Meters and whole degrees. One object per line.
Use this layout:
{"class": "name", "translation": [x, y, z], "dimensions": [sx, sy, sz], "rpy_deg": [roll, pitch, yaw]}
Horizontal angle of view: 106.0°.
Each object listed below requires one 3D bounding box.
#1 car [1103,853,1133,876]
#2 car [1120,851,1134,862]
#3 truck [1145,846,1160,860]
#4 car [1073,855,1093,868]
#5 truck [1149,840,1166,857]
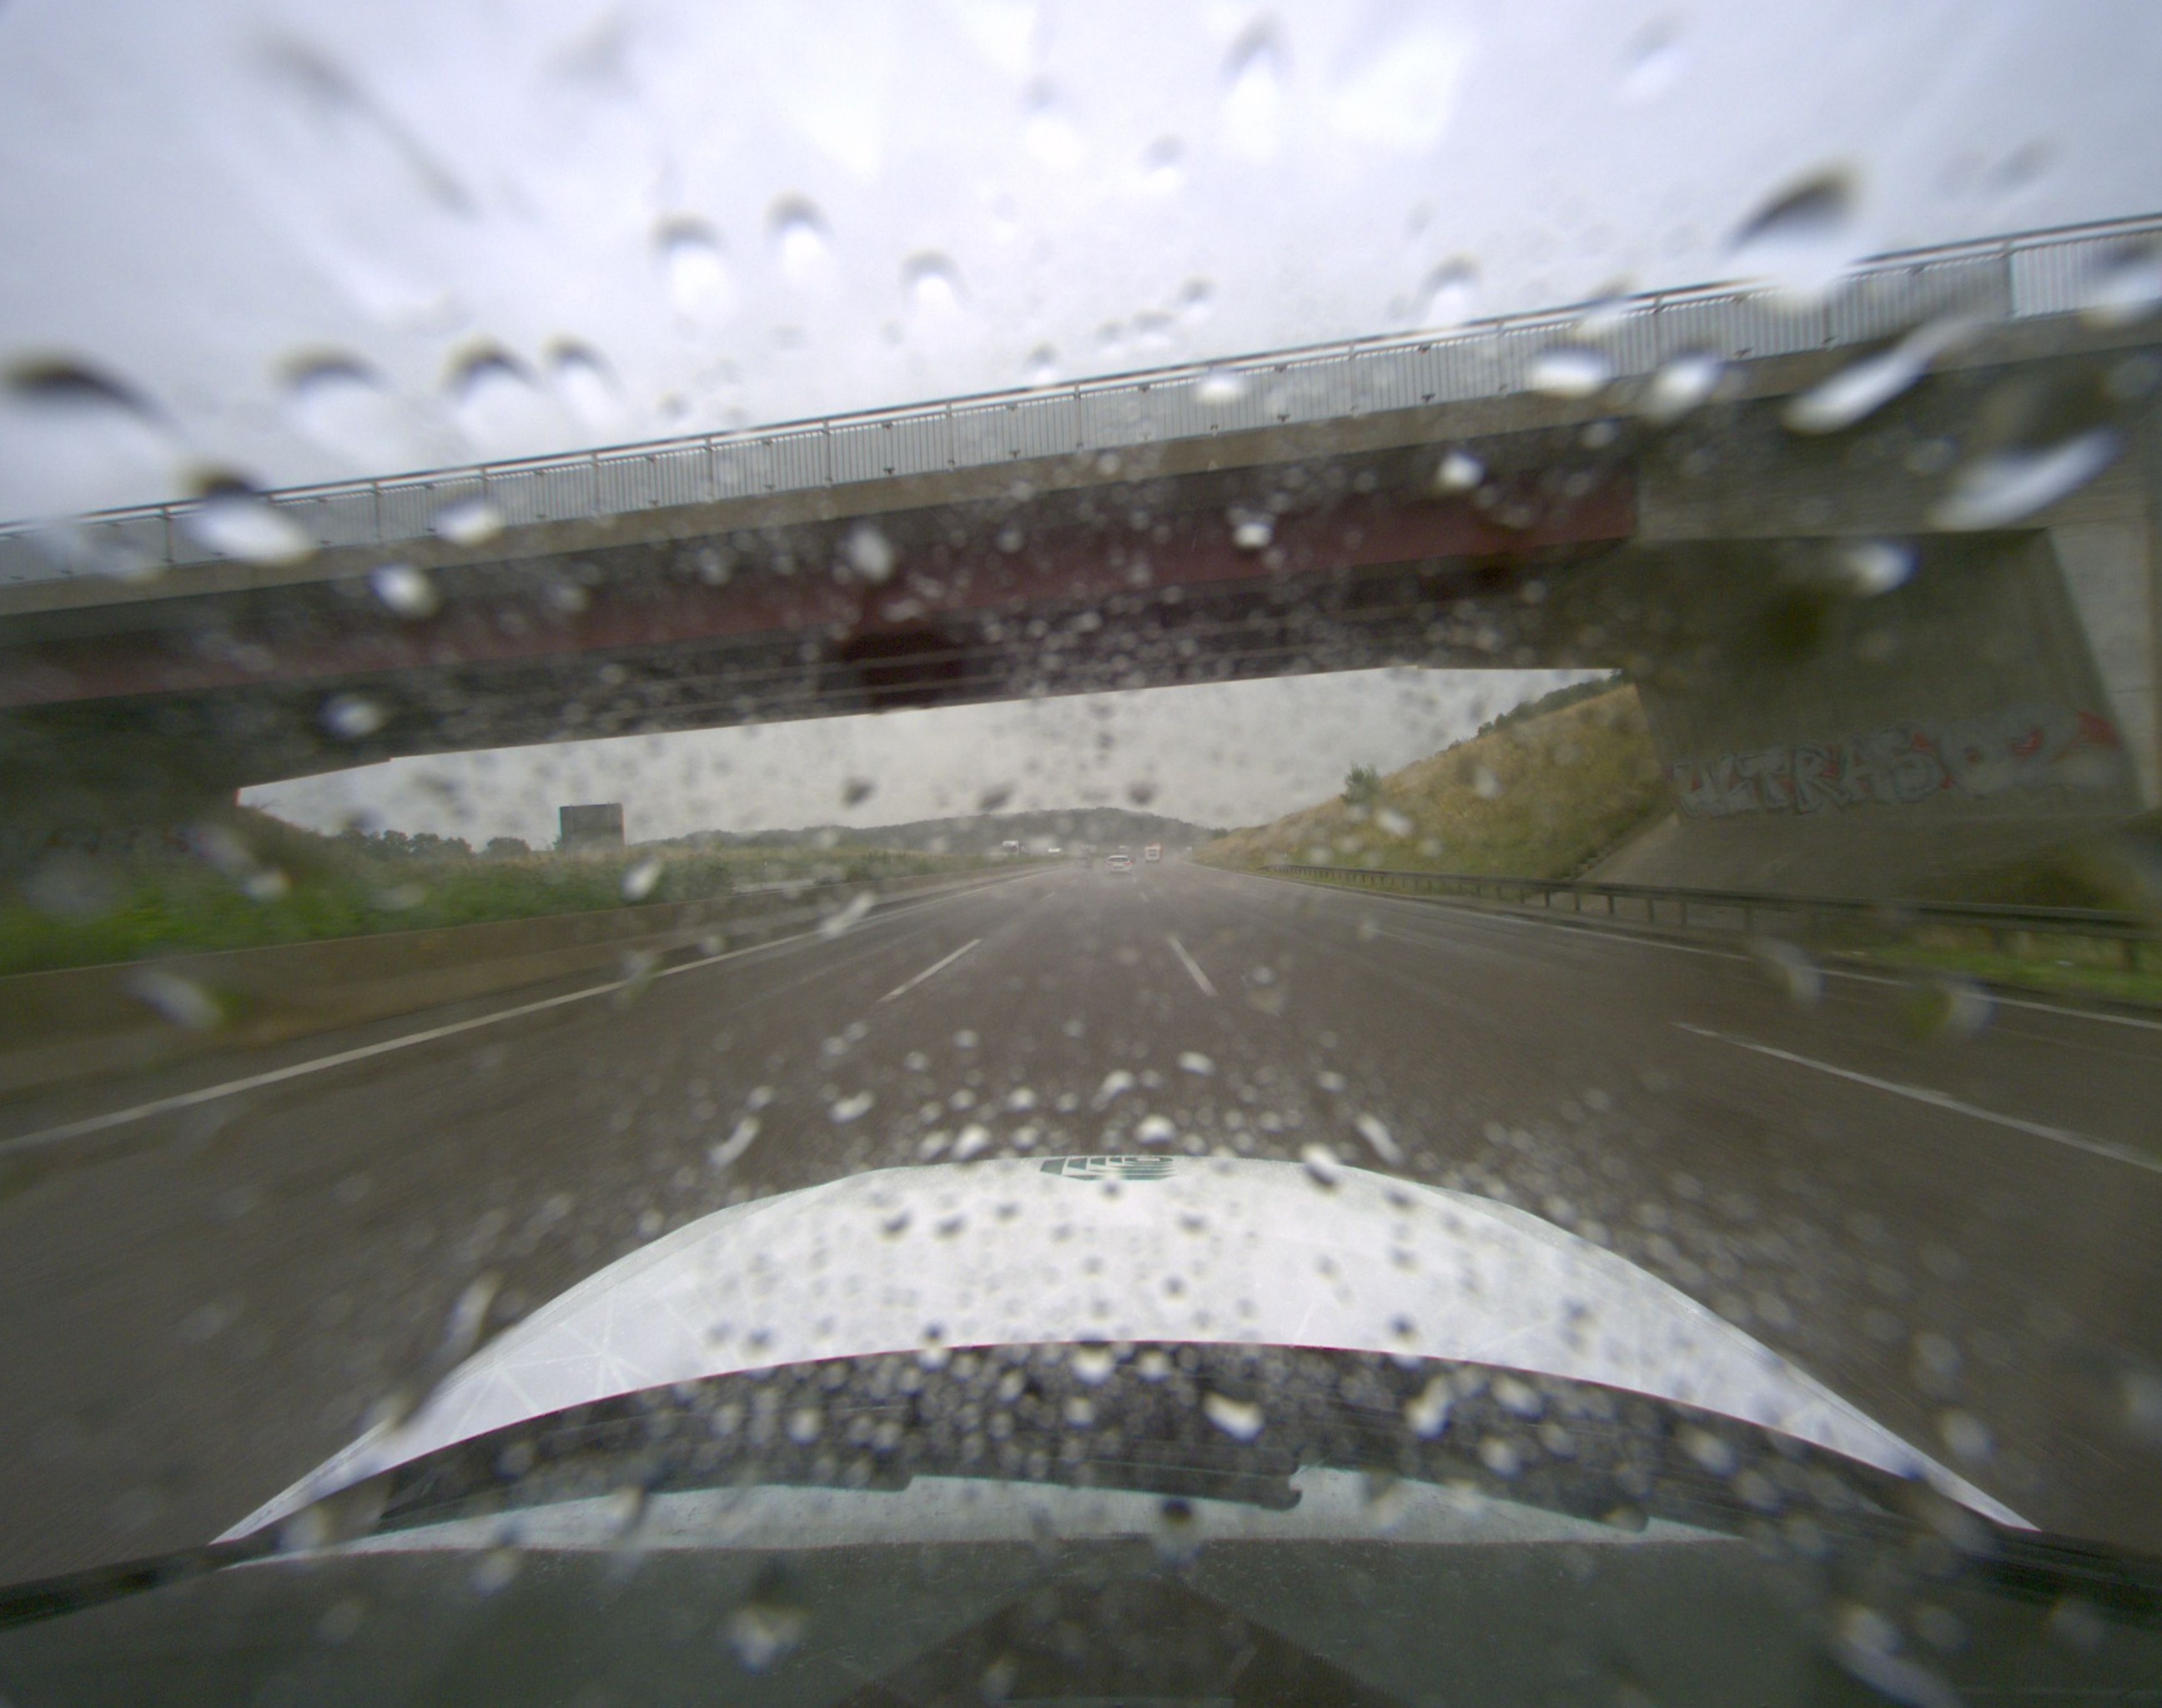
{"class": "car", "translation": [2.417, 0.672, 54.241], "dimensions": [1.861, 1.463, 4.000], "rpy_deg": [-1, -1, 1]}
{"class": "car", "translation": [6.848, 0.322, 121.604], "dimensions": [1.985, 1.618, 4.003], "rpy_deg": [-1, 0, 3]}
{"class": "truck", "translation": [11.608, -0.149, 132.281], "dimensions": [2.396, 2.252, 4.699], "rpy_deg": [-1, 0, 5]}
{"class": "car", "translation": [0.150, 0.764, 79.702], "dimensions": [1.818, 1.156, 4.210], "rpy_deg": [0, -1, -1]}
{"class": "truck", "translation": [16.980, -1.245, 181.573], "dimensions": [3.511, 3.742, 11.439], "rpy_deg": [0, 1, 4]}
